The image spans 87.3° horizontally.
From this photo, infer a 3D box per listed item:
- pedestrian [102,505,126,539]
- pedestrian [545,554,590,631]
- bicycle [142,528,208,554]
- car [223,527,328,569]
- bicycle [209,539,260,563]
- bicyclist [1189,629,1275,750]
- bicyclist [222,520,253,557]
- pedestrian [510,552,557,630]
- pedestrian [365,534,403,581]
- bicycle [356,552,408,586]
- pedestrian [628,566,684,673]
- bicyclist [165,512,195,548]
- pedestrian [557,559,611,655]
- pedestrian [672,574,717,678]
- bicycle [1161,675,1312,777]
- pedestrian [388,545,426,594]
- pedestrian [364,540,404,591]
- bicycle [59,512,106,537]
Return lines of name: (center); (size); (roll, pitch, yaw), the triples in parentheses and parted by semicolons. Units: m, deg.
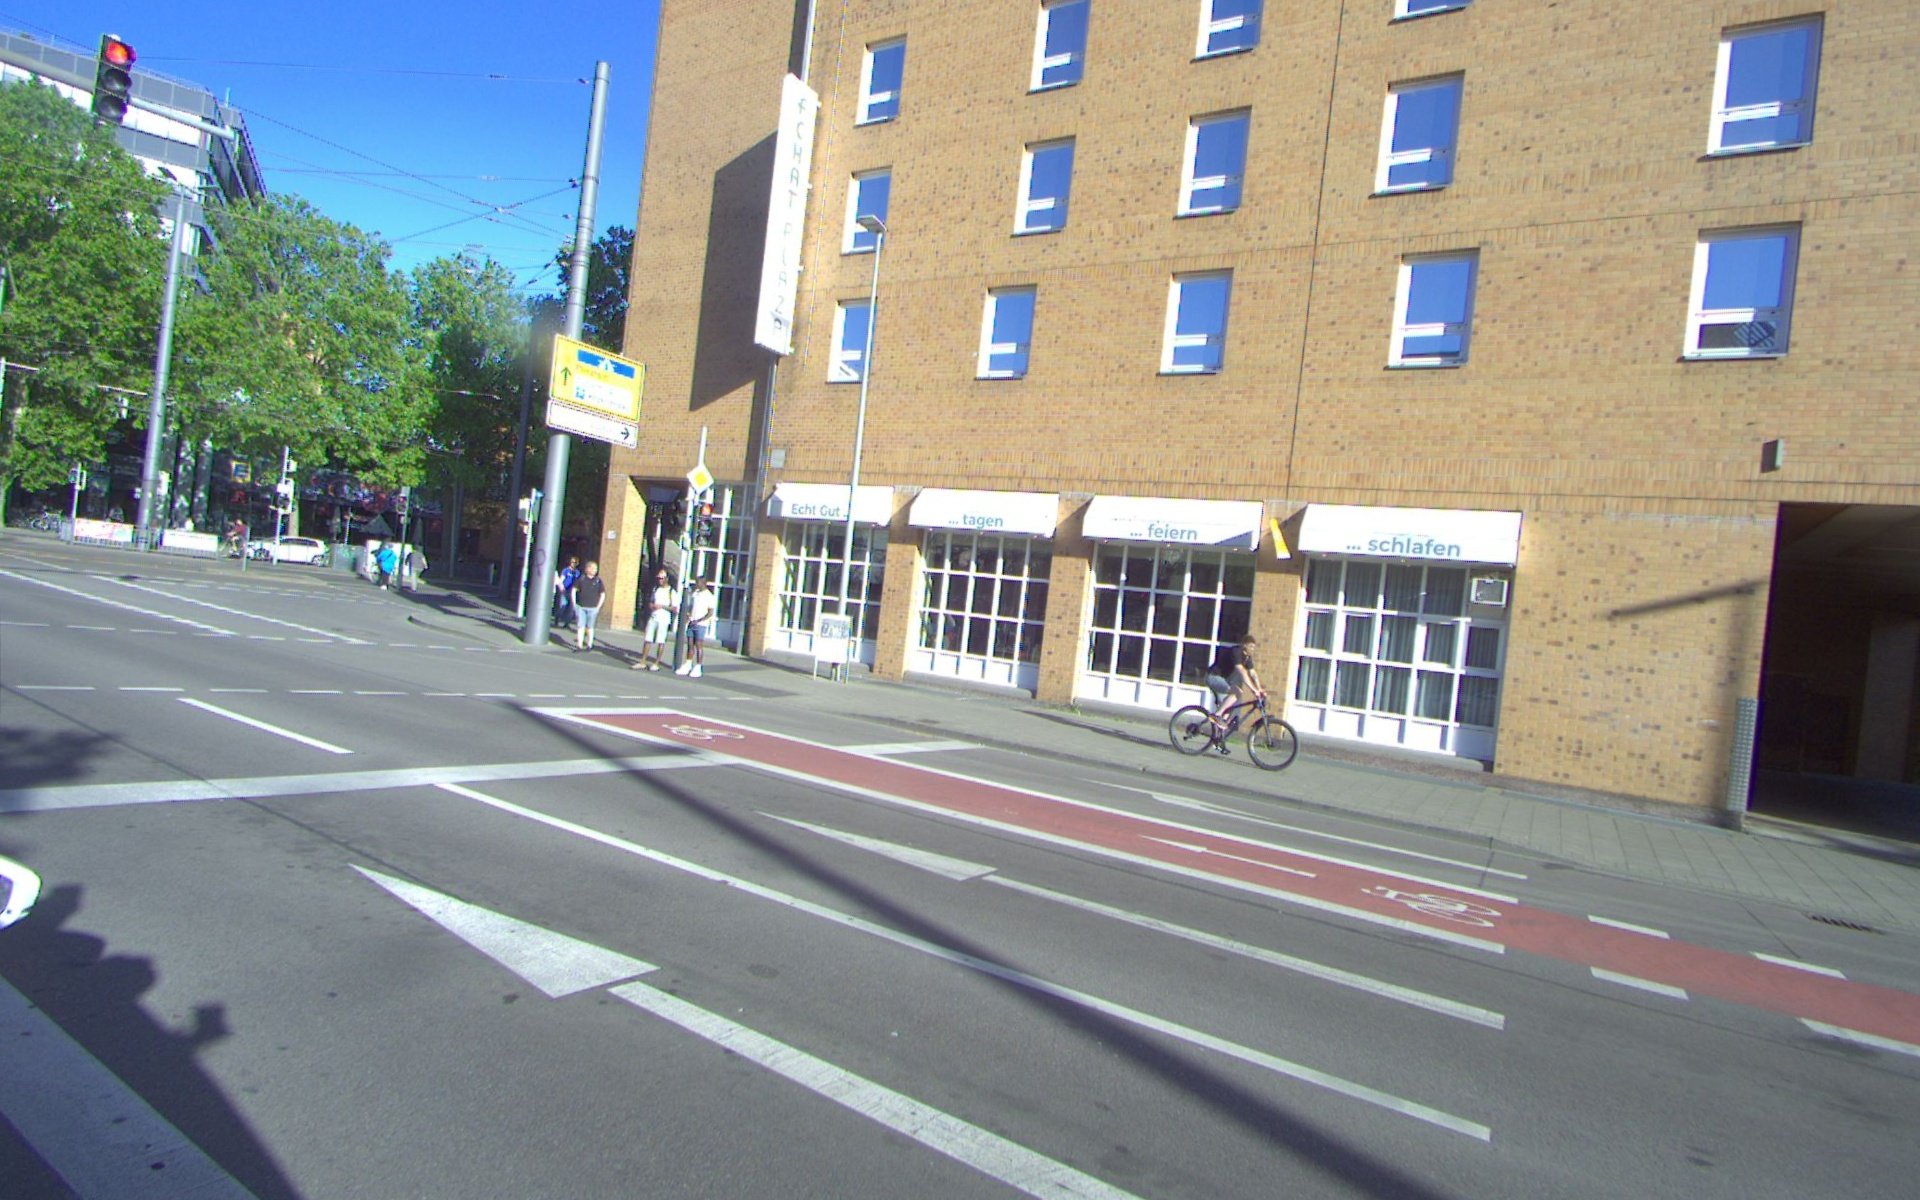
pedestrian: (-51.343, -4.741, 61.023); (0.845, 1.873, 0.800); (10, -3, -44)
pedestrian: (-9.385, -0.179, 24.056); (0.593, 1.747, 0.602); (6, -1, 36)
bicycle: (-47.124, -3.548, 60.427); (3.029, 1.126, 0.825); (8, -1, -41)
car: (-35.286, -2.661, 51.937); (1.969, 1.503, 3.990); (6, -3, 36)
bicycle: (-35.153, -2.376, 48.774); (0.642, 0.921, 1.854); (7, -1, 36)
bicyclist: (3.786, 1.218, 14.019); (0.837, 1.536, 0.577); (8, 5, 38)
bicyclist: (-35.063, -2.997, 48.800); (0.627, 1.635, 0.926); (7, 0, 35)
pedestrian: (-9.973, -0.219, 23.532); (0.648, 1.723, 0.562); (6, -1, 33)
pedestrian: (-21.728, -1.611, 37.929); (0.824, 1.612, 0.771); (6, -1, 31)
bicycle: (-21.770, -1.173, 37.897); (1.891, 1.064, 0.791); (6, -2, 32)
pedestrian: (-5.478, 0.349, 18.155); (0.719, 1.857, 0.497); (5, 1, -3)
bicyclist: (-46.948, -4.193, 60.526); (1.222, 1.955, 0.826); (7, 0, -41)
pedestrian: (-7.391, 0.145, 19.823); (0.683, 1.789, 0.573); (8, 0, -9)
pedestrian: (-4.745, 0.456, 17.988); (0.571, 1.797, 0.402); (7, 2, 44)
bicycle: (3.811, 1.707, 13.978); (1.853, 1.065, 0.599); (7, 5, 38)
pedestrian: (-18.883, -1.044, 34.356); (0.729, 1.557, 0.652); (6, -1, 24)
pedestrian: (-19.140, -1.142, 33.429); (0.729, 1.557, 0.677); (6, -1, 24)
bicycle: (-44.190, -3.778, 50.680); (0.386, 0.998, 1.700); (7, 0, 45)
